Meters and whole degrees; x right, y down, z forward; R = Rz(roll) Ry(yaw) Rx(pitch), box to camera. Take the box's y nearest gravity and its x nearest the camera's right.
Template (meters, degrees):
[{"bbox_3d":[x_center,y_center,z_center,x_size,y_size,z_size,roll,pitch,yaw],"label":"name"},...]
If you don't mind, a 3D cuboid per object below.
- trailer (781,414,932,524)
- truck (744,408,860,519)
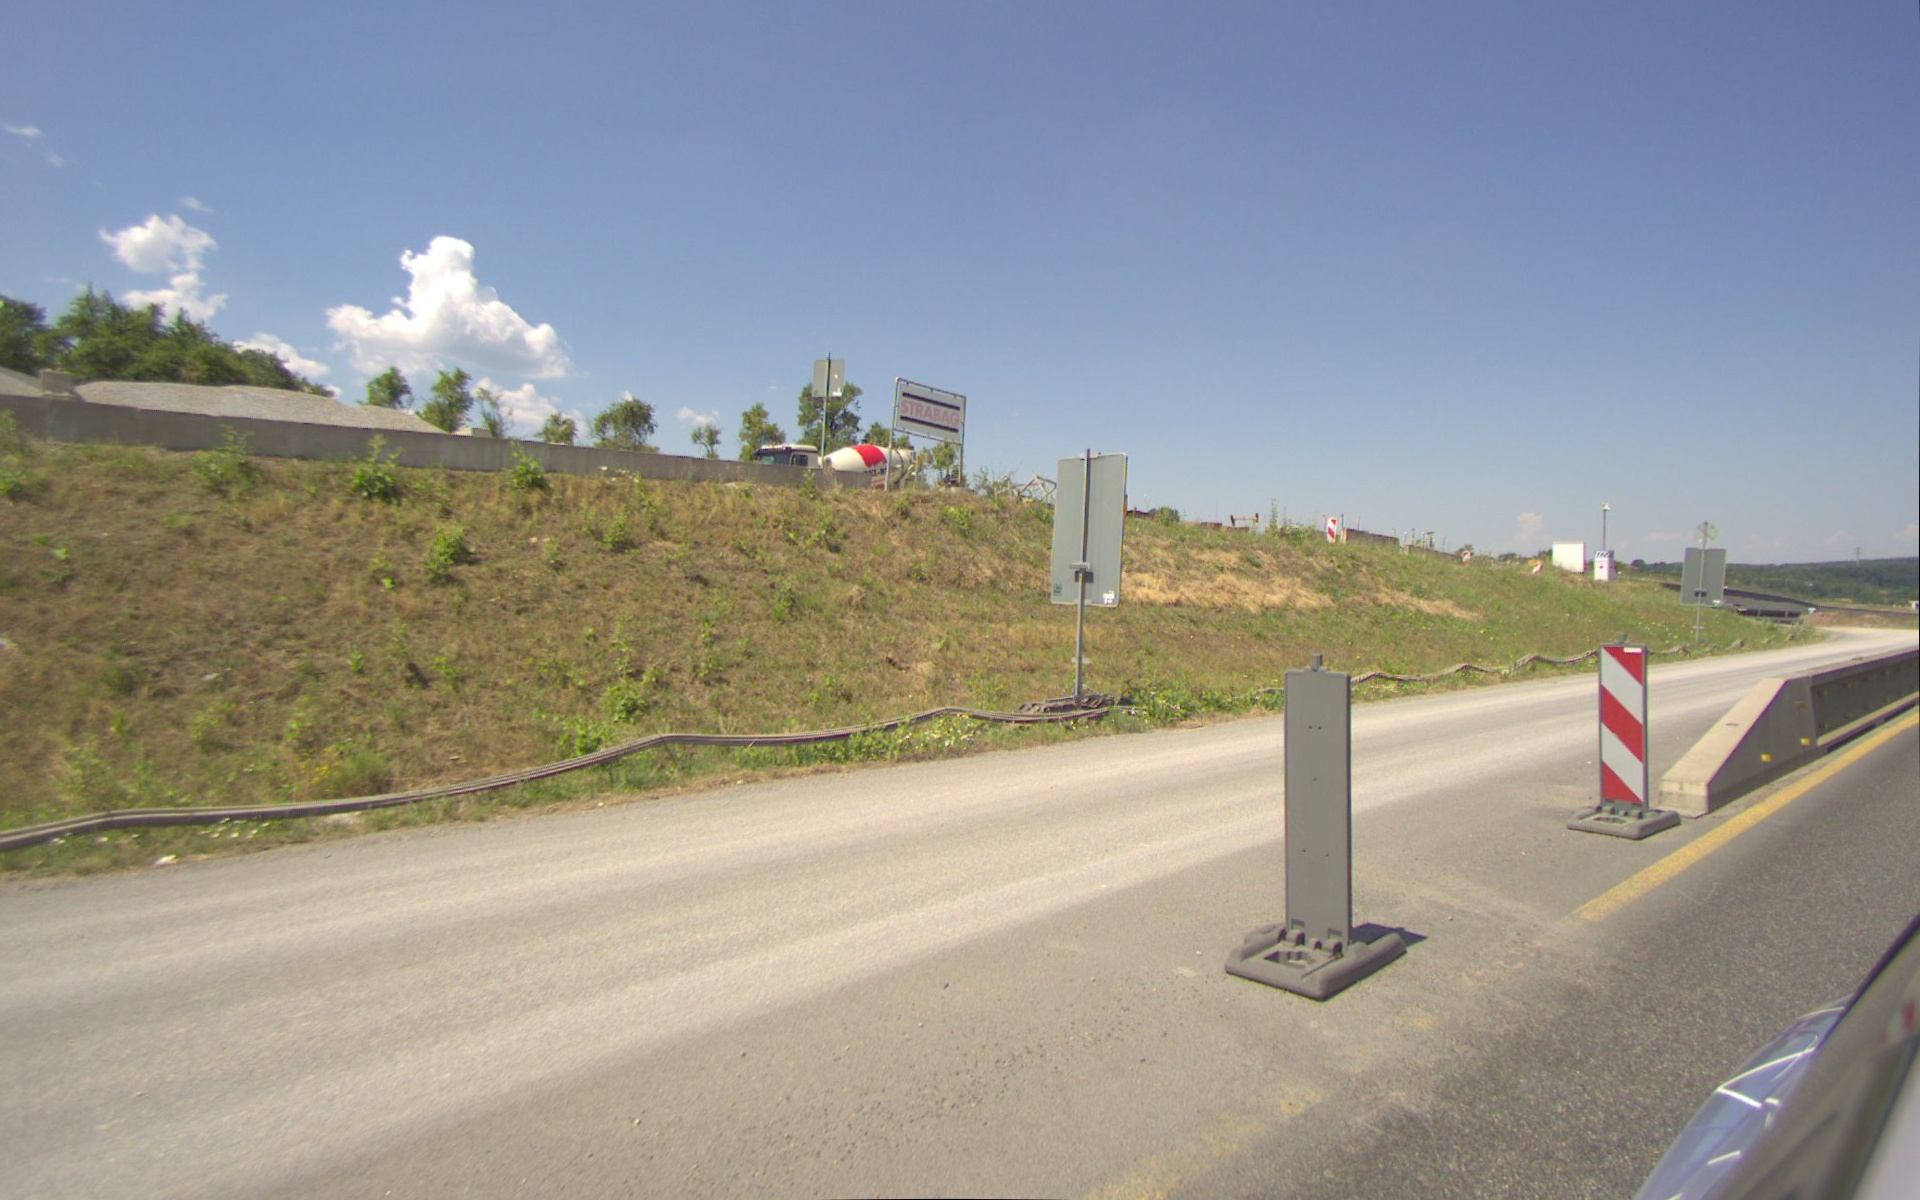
[{"bbox_3d":[-4.517,-5.659,45.321,2.754,4.165,6.646,2,1,41],"label":"trailer"},{"bbox_3d":[-6.643,-5.634,42.838,2.742,4.147,4.040,2,1,41],"label":"truck"}]
